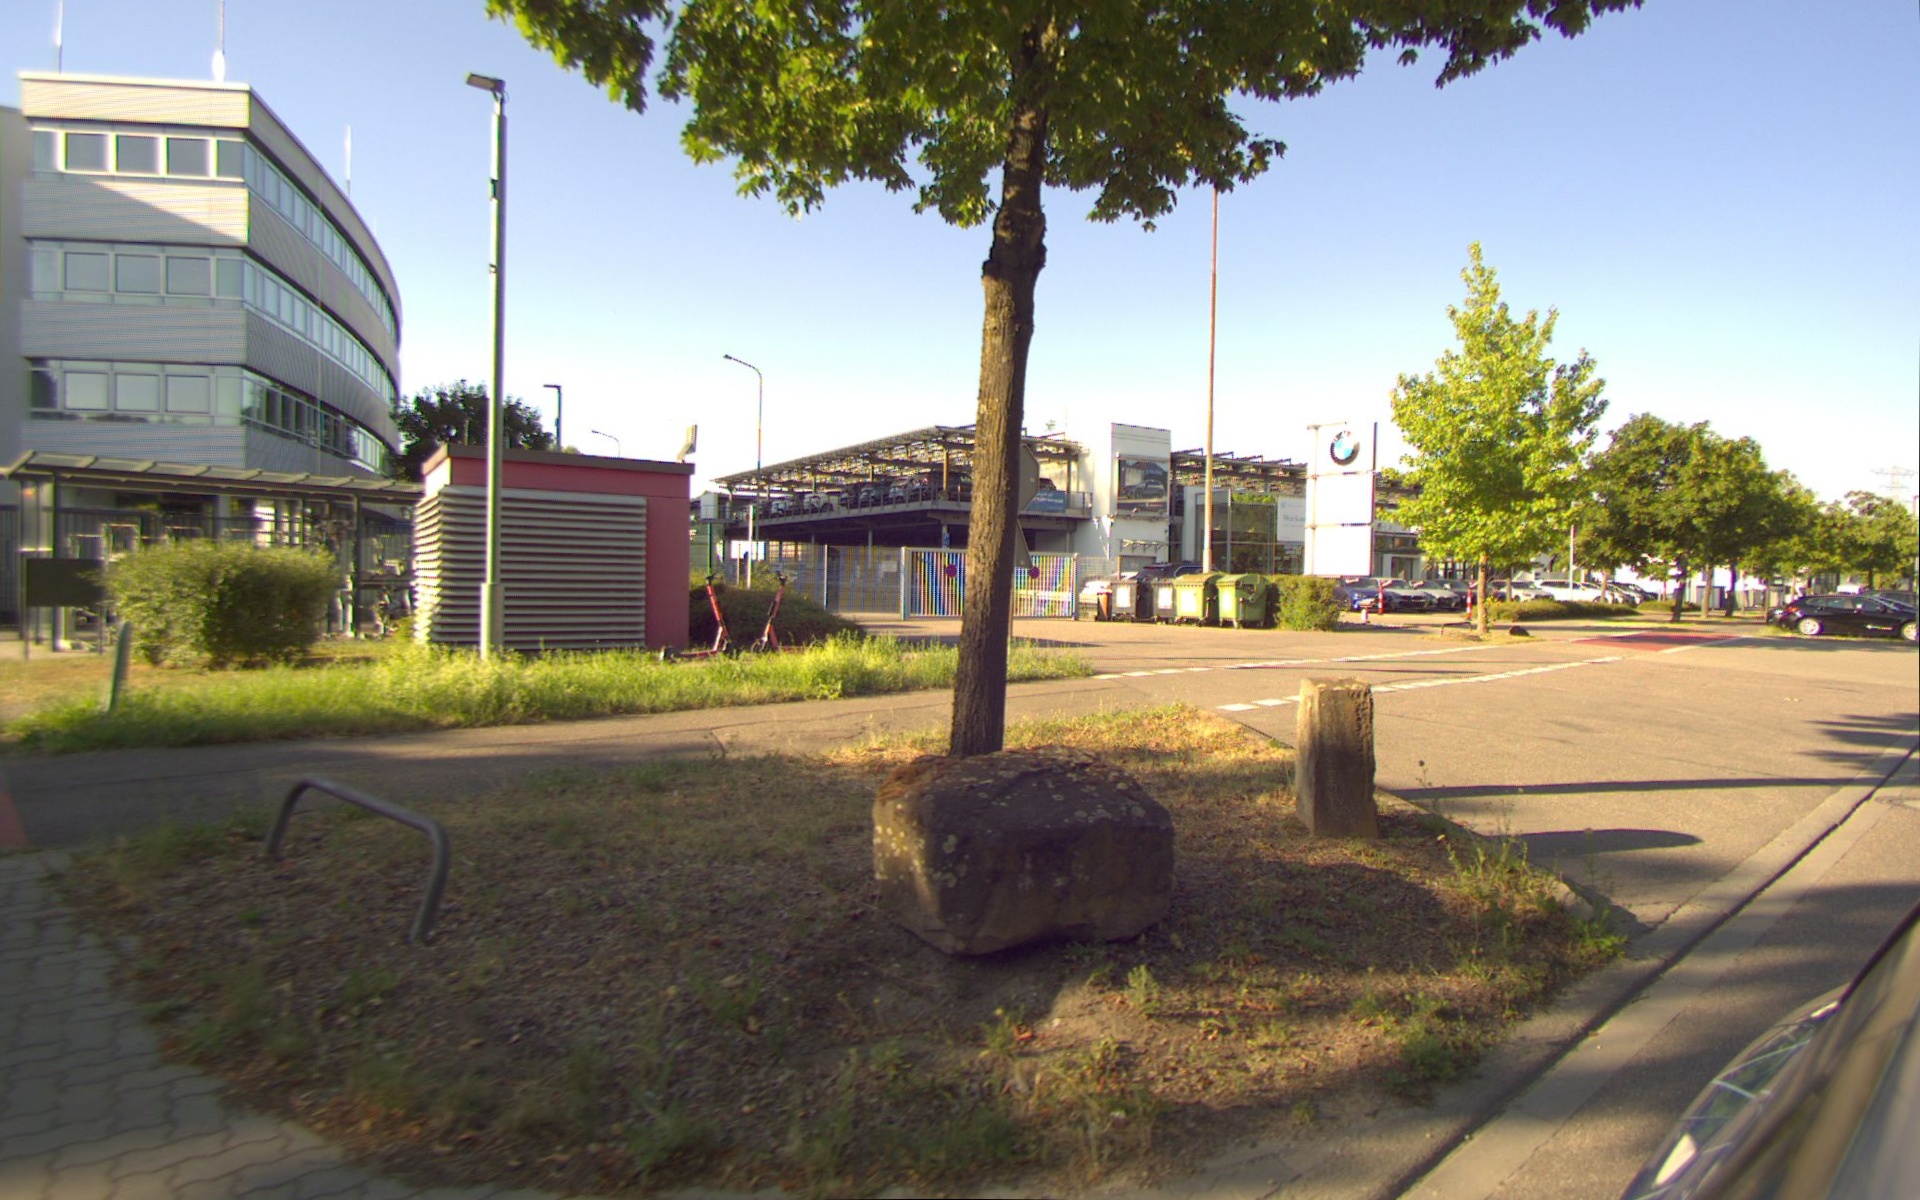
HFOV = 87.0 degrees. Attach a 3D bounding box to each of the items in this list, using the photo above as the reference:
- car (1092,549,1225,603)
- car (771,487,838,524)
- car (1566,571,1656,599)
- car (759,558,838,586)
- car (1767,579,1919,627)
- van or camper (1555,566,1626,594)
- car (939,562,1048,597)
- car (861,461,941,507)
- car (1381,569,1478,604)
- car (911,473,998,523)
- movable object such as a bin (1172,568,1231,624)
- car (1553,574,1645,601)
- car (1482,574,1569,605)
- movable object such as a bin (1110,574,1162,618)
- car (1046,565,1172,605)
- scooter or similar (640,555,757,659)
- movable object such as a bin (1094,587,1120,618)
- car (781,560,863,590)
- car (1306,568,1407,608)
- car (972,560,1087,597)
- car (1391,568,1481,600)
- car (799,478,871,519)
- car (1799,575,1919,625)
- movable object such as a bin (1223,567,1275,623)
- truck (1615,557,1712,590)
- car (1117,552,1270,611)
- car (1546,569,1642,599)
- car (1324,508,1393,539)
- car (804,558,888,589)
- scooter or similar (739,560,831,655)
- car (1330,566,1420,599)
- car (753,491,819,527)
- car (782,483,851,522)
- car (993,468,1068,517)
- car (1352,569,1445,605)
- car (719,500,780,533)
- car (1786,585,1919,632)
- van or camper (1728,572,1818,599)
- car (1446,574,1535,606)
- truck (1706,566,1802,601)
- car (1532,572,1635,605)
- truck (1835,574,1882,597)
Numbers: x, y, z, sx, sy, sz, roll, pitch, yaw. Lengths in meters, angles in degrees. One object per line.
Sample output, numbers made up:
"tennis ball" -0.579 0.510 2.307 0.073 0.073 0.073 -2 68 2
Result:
"car" 7.205 -0.857 36.627 4.469 1.850 2.041 0 2 -30
"car" -10.668 -6.439 69.425 4.120 2.128 2.000 1 -1 -34
"car" 42.809 -0.986 66.640 4.545 1.593 1.989 3 3 18
"car" -10.106 -1.744 63.450 4.473 1.694 2.039 0 2 -35
"car" 31.920 0.069 36.222 2.000 1.570 4.486 0 2 -44
"van or camper" 82.584 -2.654 132.694 2.363 3.370 8.158 1 2 -19
"car" 1.516 -0.916 45.416 4.468 1.449 2.041 0 2 -30
"car" -3.354 -6.558 57.607 4.120 2.128 2.000 1 -1 -34
"car" 21.681 -0.665 46.971 1.960 1.481 4.795 1 2 -5
"car" -0.254 -5.257 52.692 4.120 2.128 2.000 1 -1 -34
"movable object such as a bin" 6.696 -0.133 28.072 1.019 1.502 1.213 0 1 -38
"car" 40.659 -0.812 64.560 4.544 1.593 1.989 1 2 18
"car" 32.119 -0.643 57.650 1.962 1.590 5.193 1 2 0
"movable object such as a bin" 5.338 -0.125 30.718 1.019 1.283 1.120 0 1 -38
"car" 5.742 -0.578 38.983 4.468 1.449 2.041 0 2 -30
"scooter or similar" -3.380 0.075 13.145 1.363 1.288 0.521 0 1 -41
"movable object such as a bin" 4.571 0.078 31.509 0.593 0.933 0.507 0 1 -35
"car" -8.350 -1.521 61.339 4.473 1.694 2.039 0 2 -35
"car" 16.320 -0.561 41.951 1.960 1.481 4.796 1 2 -5
"car" 2.944 -0.918 42.745 4.468 1.449 2.041 0 2 -30
"car" 24.089 -0.845 51.467 1.960 1.481 4.795 1 2 -5
"car" -8.039 -6.483 65.026 4.120 2.128 2.000 1 -1 -34
"car" 34.807 -0.018 38.057 2.153 1.773 4.704 0 2 -41
"movable object such as a bin" 7.585 -0.115 26.559 1.016 1.434 0.850 1 -1 -13
"truck" 84.081 -3.266 121.250 3.227 3.689 10.141 1 2 -11
"car" 7.849 -0.609 33.961 4.876 1.850 2.041 0 2 -30
"car" 38.930 -1.025 62.295 4.545 1.593 1.989 3 3 18
"car" 26.539 -5.102 67.544 1.752 1.688 4.002 1 -1 -32
"car" -6.628 -1.539 58.966 4.473 1.694 2.039 0 2 -35
"scooter or similar" -2.459 0.087 14.269 1.179 1.288 0.521 0 1 -40
"car" 24.697 -1.077 60.312 4.747 1.795 1.980 2 2 29
"car" -12.343 -6.415 71.795 4.120 2.128 2.000 1 -1 -34
"car" -9.559 -6.459 67.432 4.120 2.128 2.000 1 -1 -34
"car" 3.766 -5.783 54.879 1.961 2.128 4.202 1 -1 -33
"car" 19.182 -0.607 44.537 2.008 1.482 4.791 1 2 0
"car" -16.049 -6.361 77.221 4.120 2.128 2.000 1 -1 -34
"car" 30.851 0.268 34.097 4.483 1.421 2.001 3 2 45
"van or camper" 95.561 -1.722 119.174 2.881 2.935 8.030 1 2 -14
"car" 27.228 -0.529 52.149 1.962 1.481 4.791 1 2 0
"truck" 86.847 -1.890 110.979 3.051 3.565 8.270 1 2 -9
"car" 36.974 -0.729 60.158 4.667 1.711 2.398 3 3 18
"truck" 112.478 -1.805 126.636 5.851 2.753 2.550 1 1 -29
